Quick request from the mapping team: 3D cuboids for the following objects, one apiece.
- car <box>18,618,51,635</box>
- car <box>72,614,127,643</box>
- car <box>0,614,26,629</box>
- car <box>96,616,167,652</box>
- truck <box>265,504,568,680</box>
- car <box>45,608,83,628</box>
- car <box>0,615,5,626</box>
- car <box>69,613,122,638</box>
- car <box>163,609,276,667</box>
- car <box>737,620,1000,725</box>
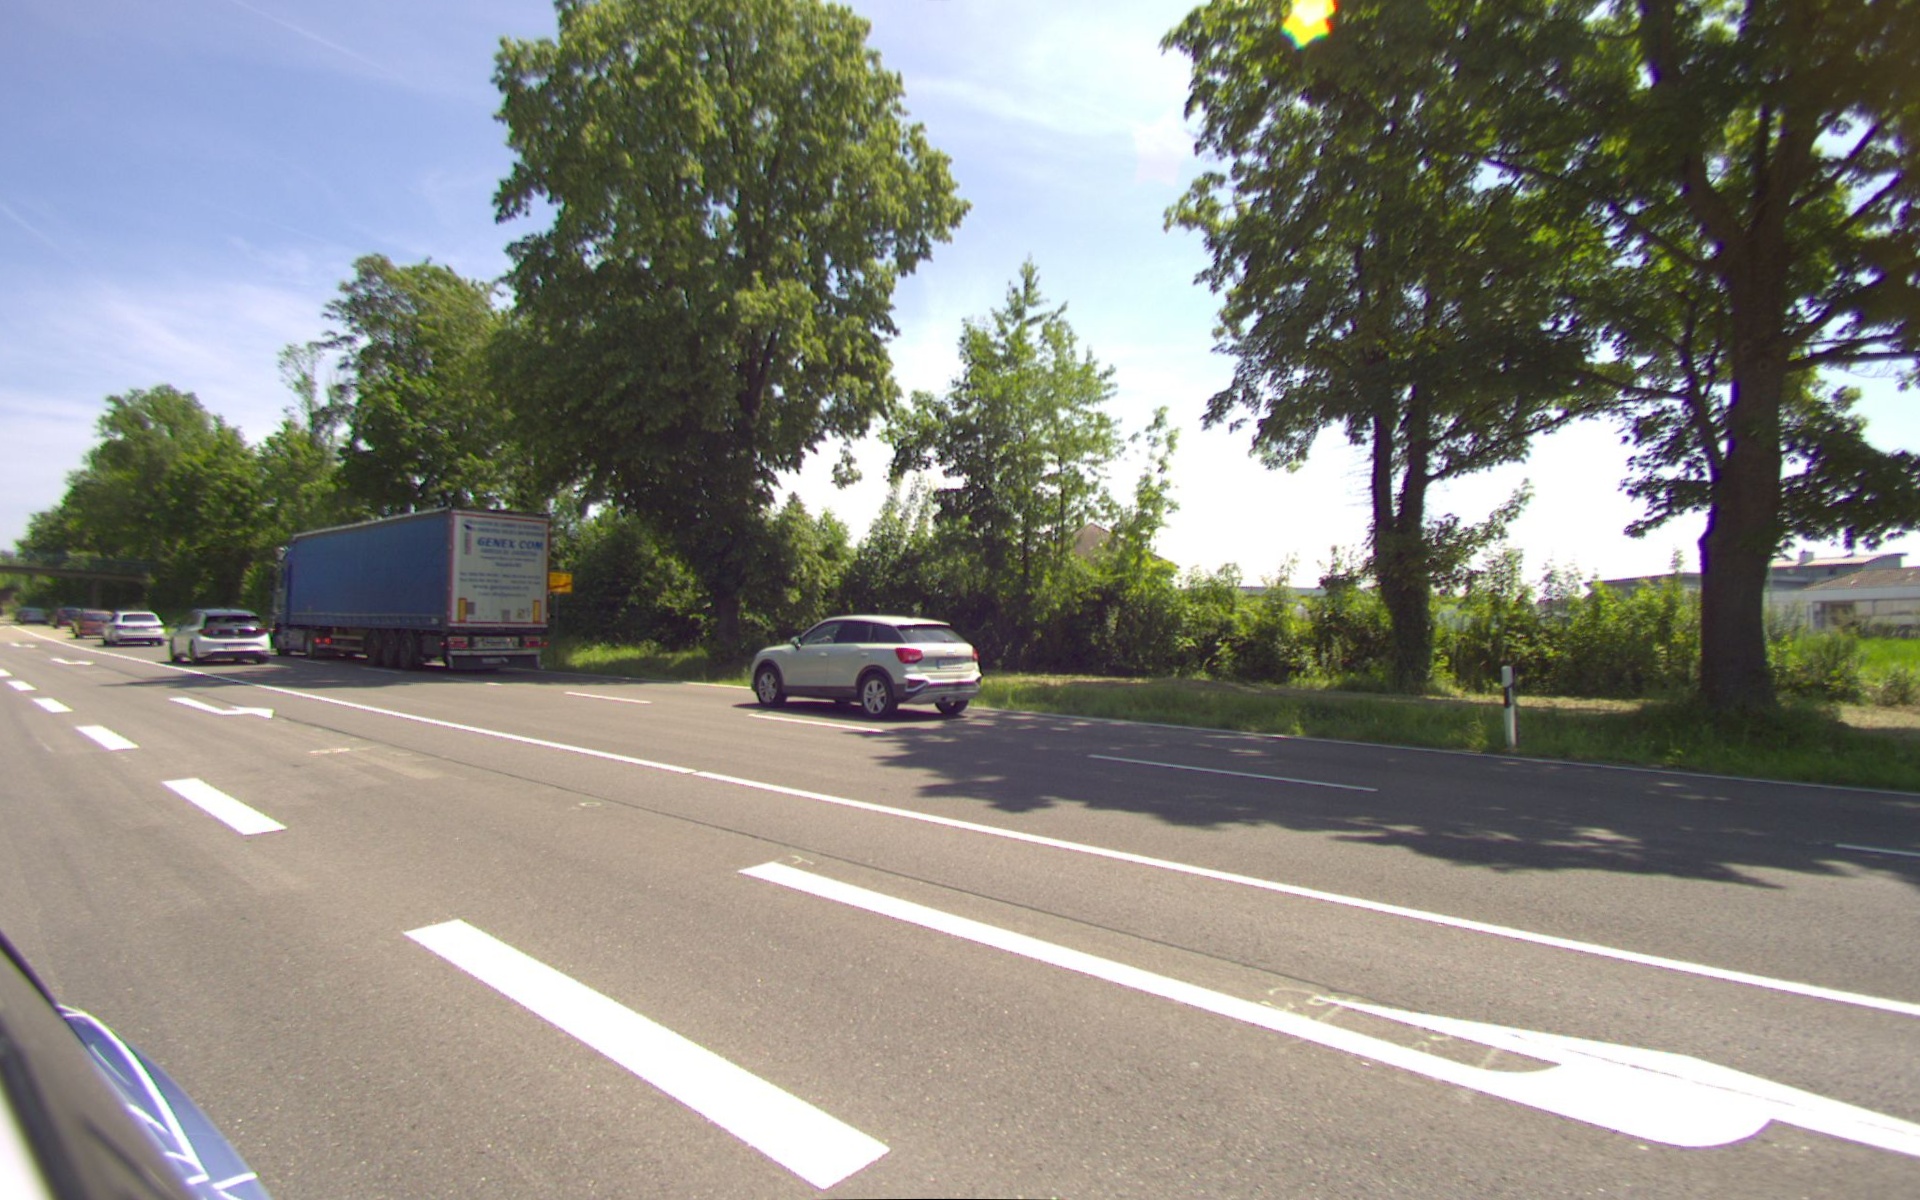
[{"bbox_3d":[-79.038,2.241,86.412,4.001,1.397,1.747,0,0,43],"label":"car"},{"bbox_3d":[-44.550,1.456,52.388,3.776,1.457,1.747,-1,-2,44],"label":"car"},{"bbox_3d":[-97.481,2.174,104.125,4.001,1.397,1.747,0,0,43],"label":"car"},{"bbox_3d":[-35.446,1.417,43.255,4.562,1.425,1.681,-1,-1,42],"label":"car"},{"bbox_3d":[-17.247,-0.095,30.858,16.575,4.208,2.935,-1,-2,43],"label":"truck"},{"bbox_3d":[-65.747,1.299,74.237,4.015,1.449,1.624,-1,0,42],"label":"car"},{"bbox_3d":[-132.579,2.818,139.042,1.880,1.520,3.768,2,-2,-43],"label":"car"},{"bbox_3d":[-53.902,1.637,63.066,4.686,1.492,1.898,-2,-3,42],"label":"car"},{"bbox_3d":[-21.152,1.075,28.853,4.185,1.534,1.773,-2,-3,42],"label":"car"},{"bbox_3d":[-1.531,1.033,15.846,4.179,1.438,1.742,-1,-2,42],"label":"car"}]
